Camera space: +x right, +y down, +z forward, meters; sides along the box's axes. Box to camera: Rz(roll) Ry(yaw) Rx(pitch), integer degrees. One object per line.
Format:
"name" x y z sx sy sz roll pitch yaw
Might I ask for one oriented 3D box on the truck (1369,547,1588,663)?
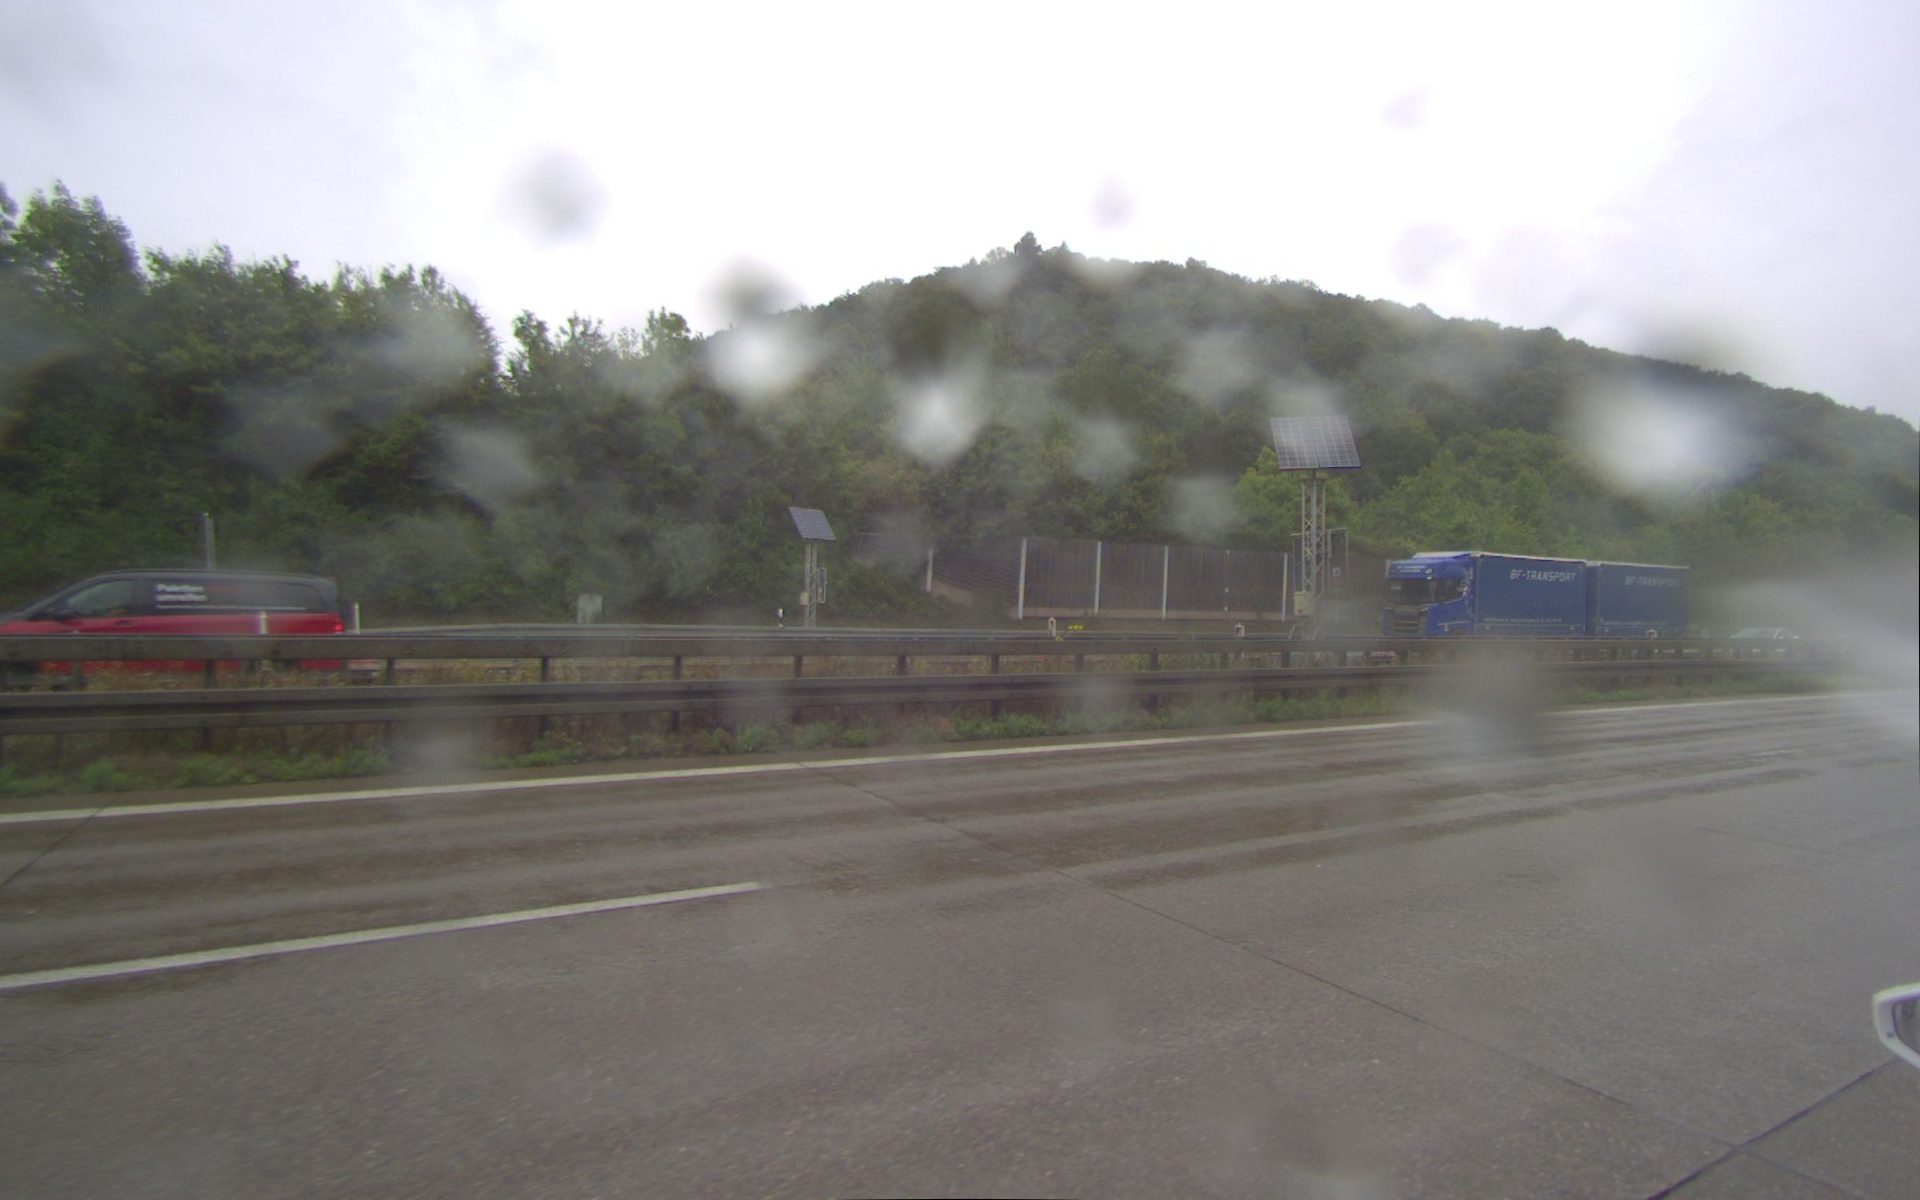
"truck" 20.942 0.249 40.278 10.060 4.210 2.834 1 1 -31

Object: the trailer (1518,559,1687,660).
"trailer" 28.897 0.441 45.051 8.425 4.210 2.834 1 1 -31

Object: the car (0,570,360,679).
"car" -12.604 0.373 15.976 5.210 1.552 1.743 1 1 -31

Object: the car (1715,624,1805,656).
"car" 36.365 1.804 45.625 4.374 1.357 1.743 1 1 -31
